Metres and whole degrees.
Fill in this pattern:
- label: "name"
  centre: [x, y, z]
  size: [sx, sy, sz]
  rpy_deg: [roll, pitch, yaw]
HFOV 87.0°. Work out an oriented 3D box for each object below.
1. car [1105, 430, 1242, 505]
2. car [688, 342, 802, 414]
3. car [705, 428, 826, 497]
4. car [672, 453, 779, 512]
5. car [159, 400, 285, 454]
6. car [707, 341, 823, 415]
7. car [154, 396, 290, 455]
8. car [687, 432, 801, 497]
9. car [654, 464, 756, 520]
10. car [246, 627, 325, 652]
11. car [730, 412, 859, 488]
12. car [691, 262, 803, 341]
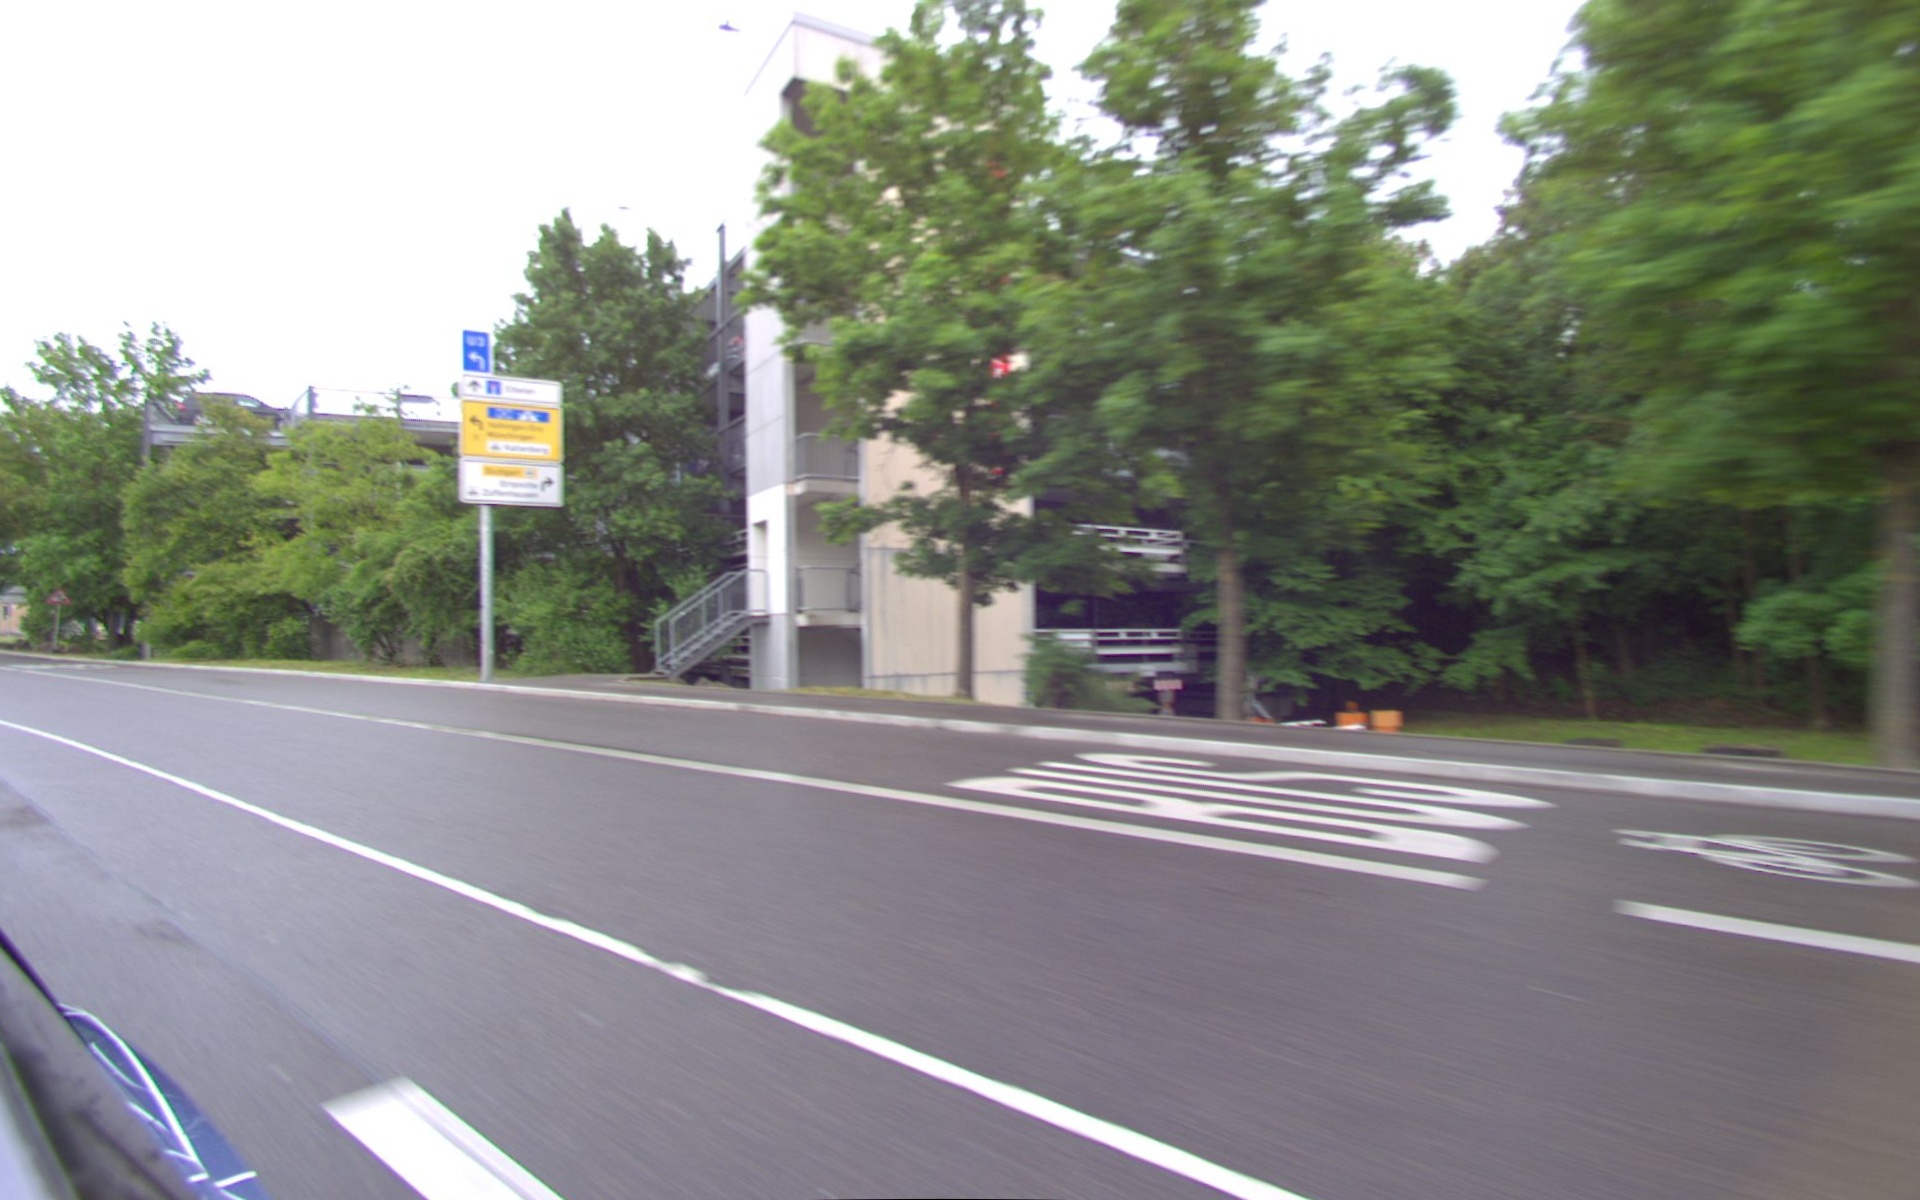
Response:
- label: "car"
  centre: [6.874, -4.205, 32.585]
  size: [3.931, 1.785, 2.006]
  rpy_deg: [1, -4, -30]
- label: "car"
  centre: [-6.904, -7.090, 32.560]
  size: [3.189, 1.530, 1.590]
  rpy_deg: [2, -3, -33]
- label: "car"
  centre: [-5.836, -4.081, 30.370]
  size: [3.189, 1.530, 1.590]
  rpy_deg: [2, -3, -33]
- label: "car"
  centre: [-7.990, -3.960, 34.546]
  size: [3.189, 1.530, 1.590]
  rpy_deg: [2, -3, -33]
- label: "car"
  centre: [-30.911, -7.217, 42.529]
  size: [3.930, 1.530, 2.006]
  rpy_deg: [2, -3, -26]
- label: "car"
  centre: [-6.078, -6.880, 31.585]
  size: [3.189, 1.530, 1.590]
  rpy_deg: [2, -3, -33]
- label: "car"
  centre: [-28.559, -6.726, 39.301]
  size: [3.930, 1.530, 2.006]
  rpy_deg: [2, -3, -26]
- label: "car"
  centre: [-6.908, -4.288, 32.436]
  size: [3.189, 1.530, 1.590]
  rpy_deg: [2, -3, -33]
- label: "car"
  centre: [-9.114, -3.822, 36.258]
  size: [3.189, 1.530, 1.590]
  rpy_deg: [2, -3, -33]
- label: "car"
  centre: [-42.648, 2.493, 64.098]
  size: [3.930, 1.530, 2.006]
  rpy_deg: [2, -3, -26]
- label: "car"
  centre: [-4.639, -4.157, 28.429]
  size: [3.189, 1.530, 1.590]
  rpy_deg: [2, -3, -33]
- label: "car"
  centre: [-6.918, -9.645, 32.869]
  size: [3.189, 1.530, 1.590]
  rpy_deg: [2, -3, -33]
